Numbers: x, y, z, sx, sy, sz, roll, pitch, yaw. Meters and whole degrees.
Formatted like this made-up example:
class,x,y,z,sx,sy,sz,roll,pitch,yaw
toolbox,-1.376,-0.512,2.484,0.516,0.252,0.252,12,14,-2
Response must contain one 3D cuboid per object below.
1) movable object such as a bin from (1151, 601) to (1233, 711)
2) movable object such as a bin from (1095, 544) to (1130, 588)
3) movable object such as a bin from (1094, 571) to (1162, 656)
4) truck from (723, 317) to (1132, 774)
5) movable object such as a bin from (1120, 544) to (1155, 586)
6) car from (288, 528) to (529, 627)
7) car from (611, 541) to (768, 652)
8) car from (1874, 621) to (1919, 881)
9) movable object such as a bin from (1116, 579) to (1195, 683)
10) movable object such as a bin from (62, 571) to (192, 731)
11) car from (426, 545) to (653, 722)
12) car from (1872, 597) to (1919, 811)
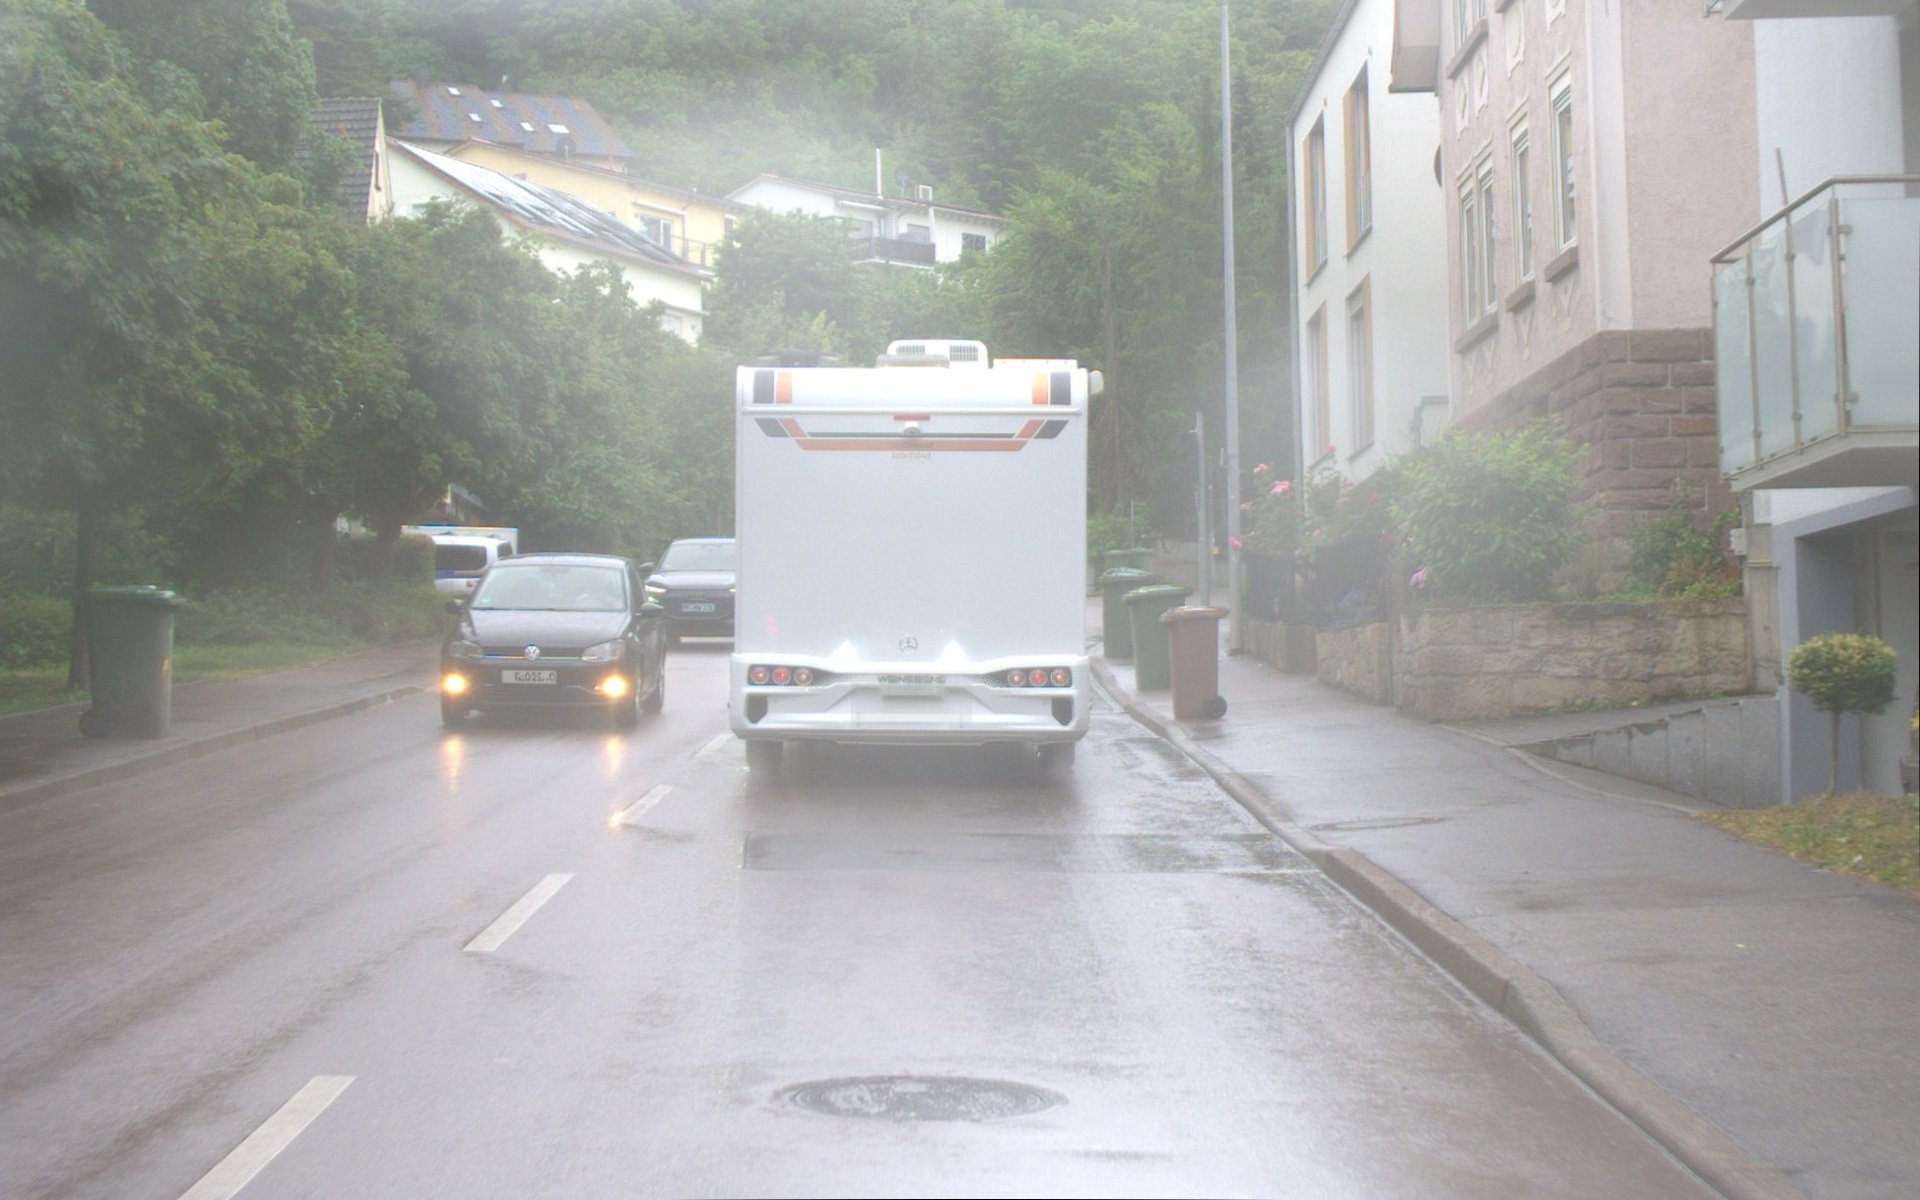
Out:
class,x,y,z,sx,sy,sz,roll,pitch,yaw
movable object such as a bin,1.930,0.460,28.622,0.630,0.894,0.712,0,1,0
movable object such as a bin,3.933,-0.891,88.820,0.666,1.135,0.626,0,1,-30
movable object such as a bin,2.121,0.162,43.516,0.835,1.057,0.750,0,1,1
truck,-0.313,-0.385,24.239,2.515,2.808,6.202,0,1,-2
movable object such as a bin,4.599,-0.903,89.127,0.704,1.084,0.560,0,1,-30
car,-10.181,-0.429,63.697,4.106,1.794,2.000,0,1,2
car,-4.055,-0.087,52.159,1.918,1.618,4.363,0,1,1
car,7.557,0.828,19.097,4.469,1.439,1.755,0,-2,0
movable object such as a bin,2.045,0.323,36.060,0.796,1.066,0.761,0,1,1
movable object such as a bin,-5.893,0.356,24.357,0.720,1.096,0.757,1,1,0
car,-3.596,0.244,29.914,1.618,1.436,3.738,0,1,-1
car,7.896,0.646,21.394,3.972,1.300,1.682,0,1,-1
